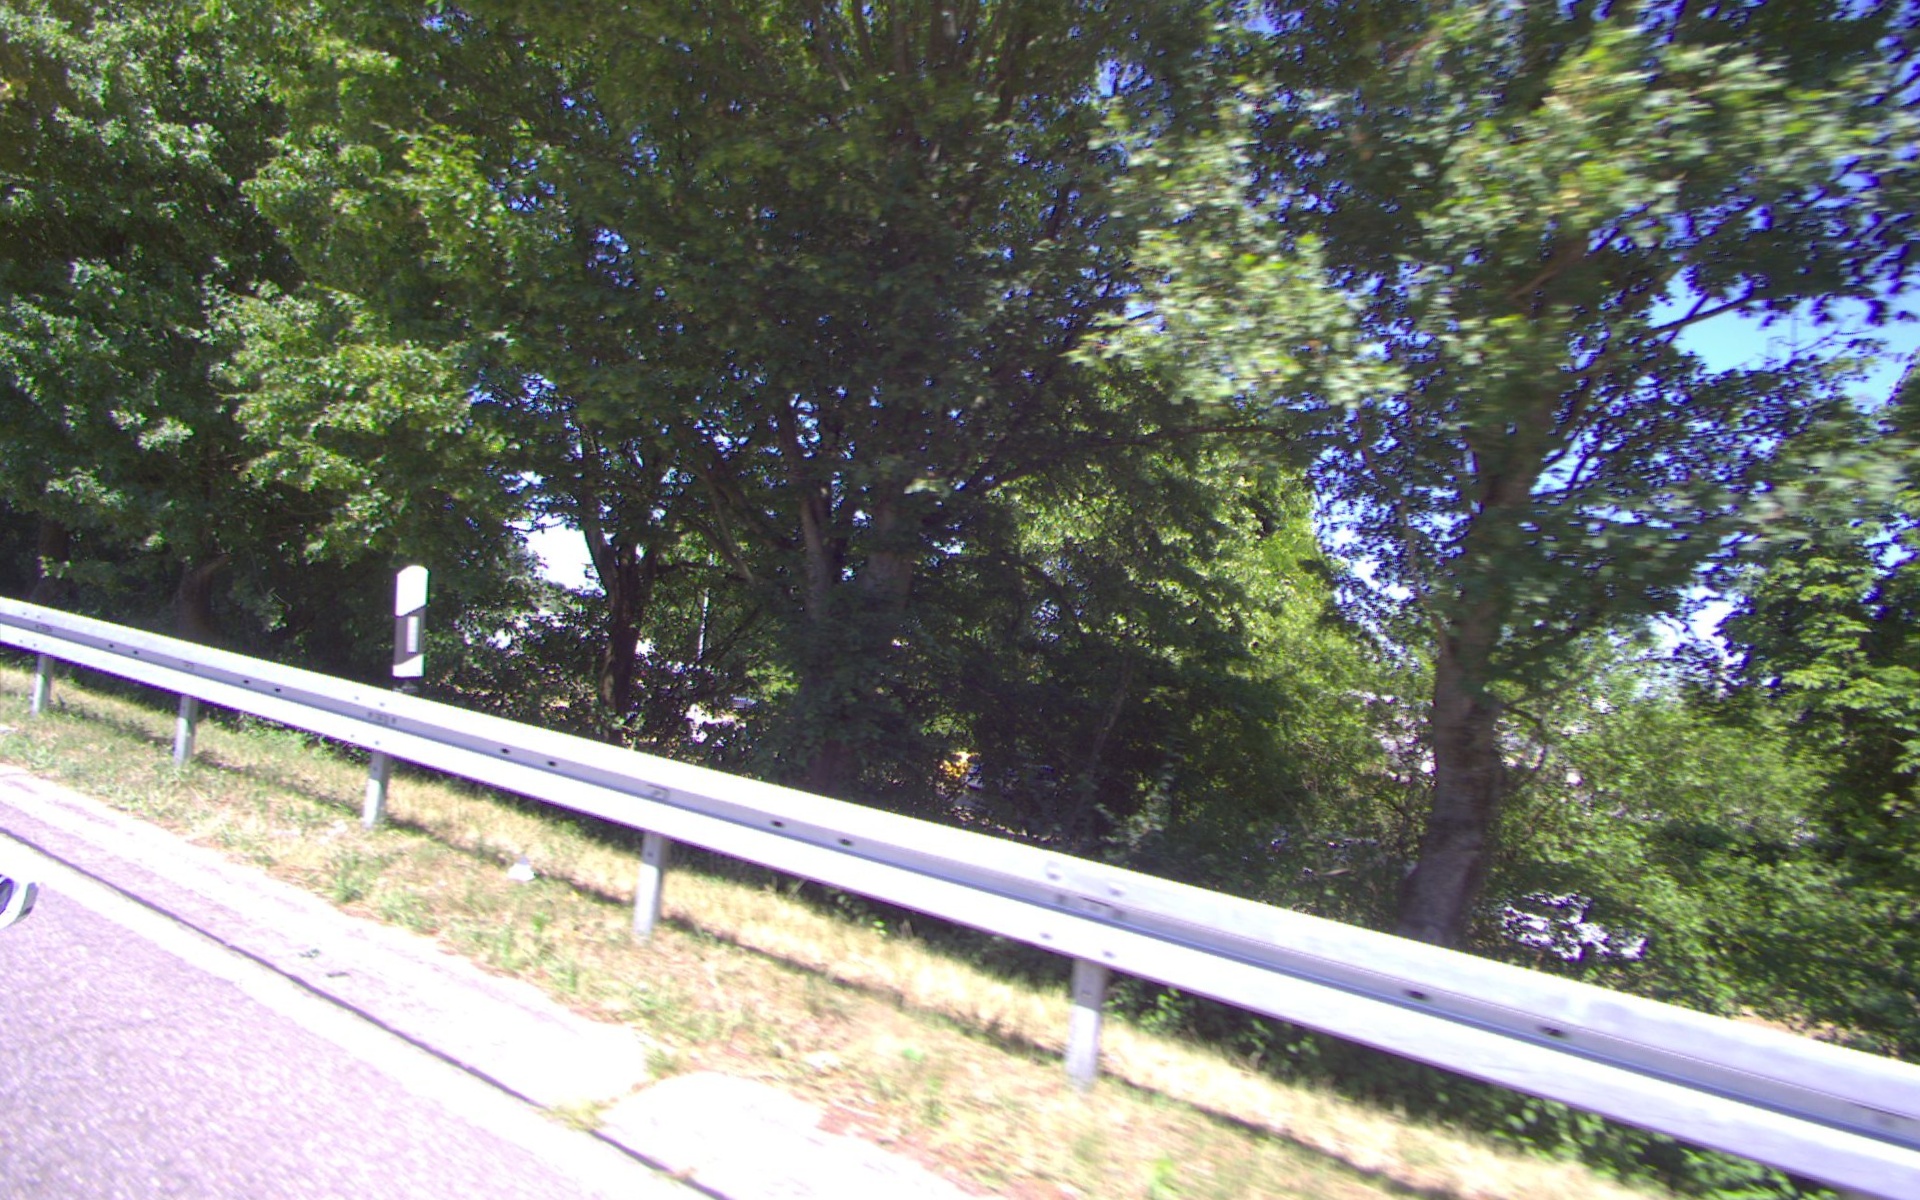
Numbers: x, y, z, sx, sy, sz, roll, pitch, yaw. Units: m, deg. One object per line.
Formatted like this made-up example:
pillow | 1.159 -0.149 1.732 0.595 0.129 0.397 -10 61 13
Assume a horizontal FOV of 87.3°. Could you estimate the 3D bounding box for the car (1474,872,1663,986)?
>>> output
car | 13.829 7.367 22.823 3.962 1.869 1.984 10 -3 -32
